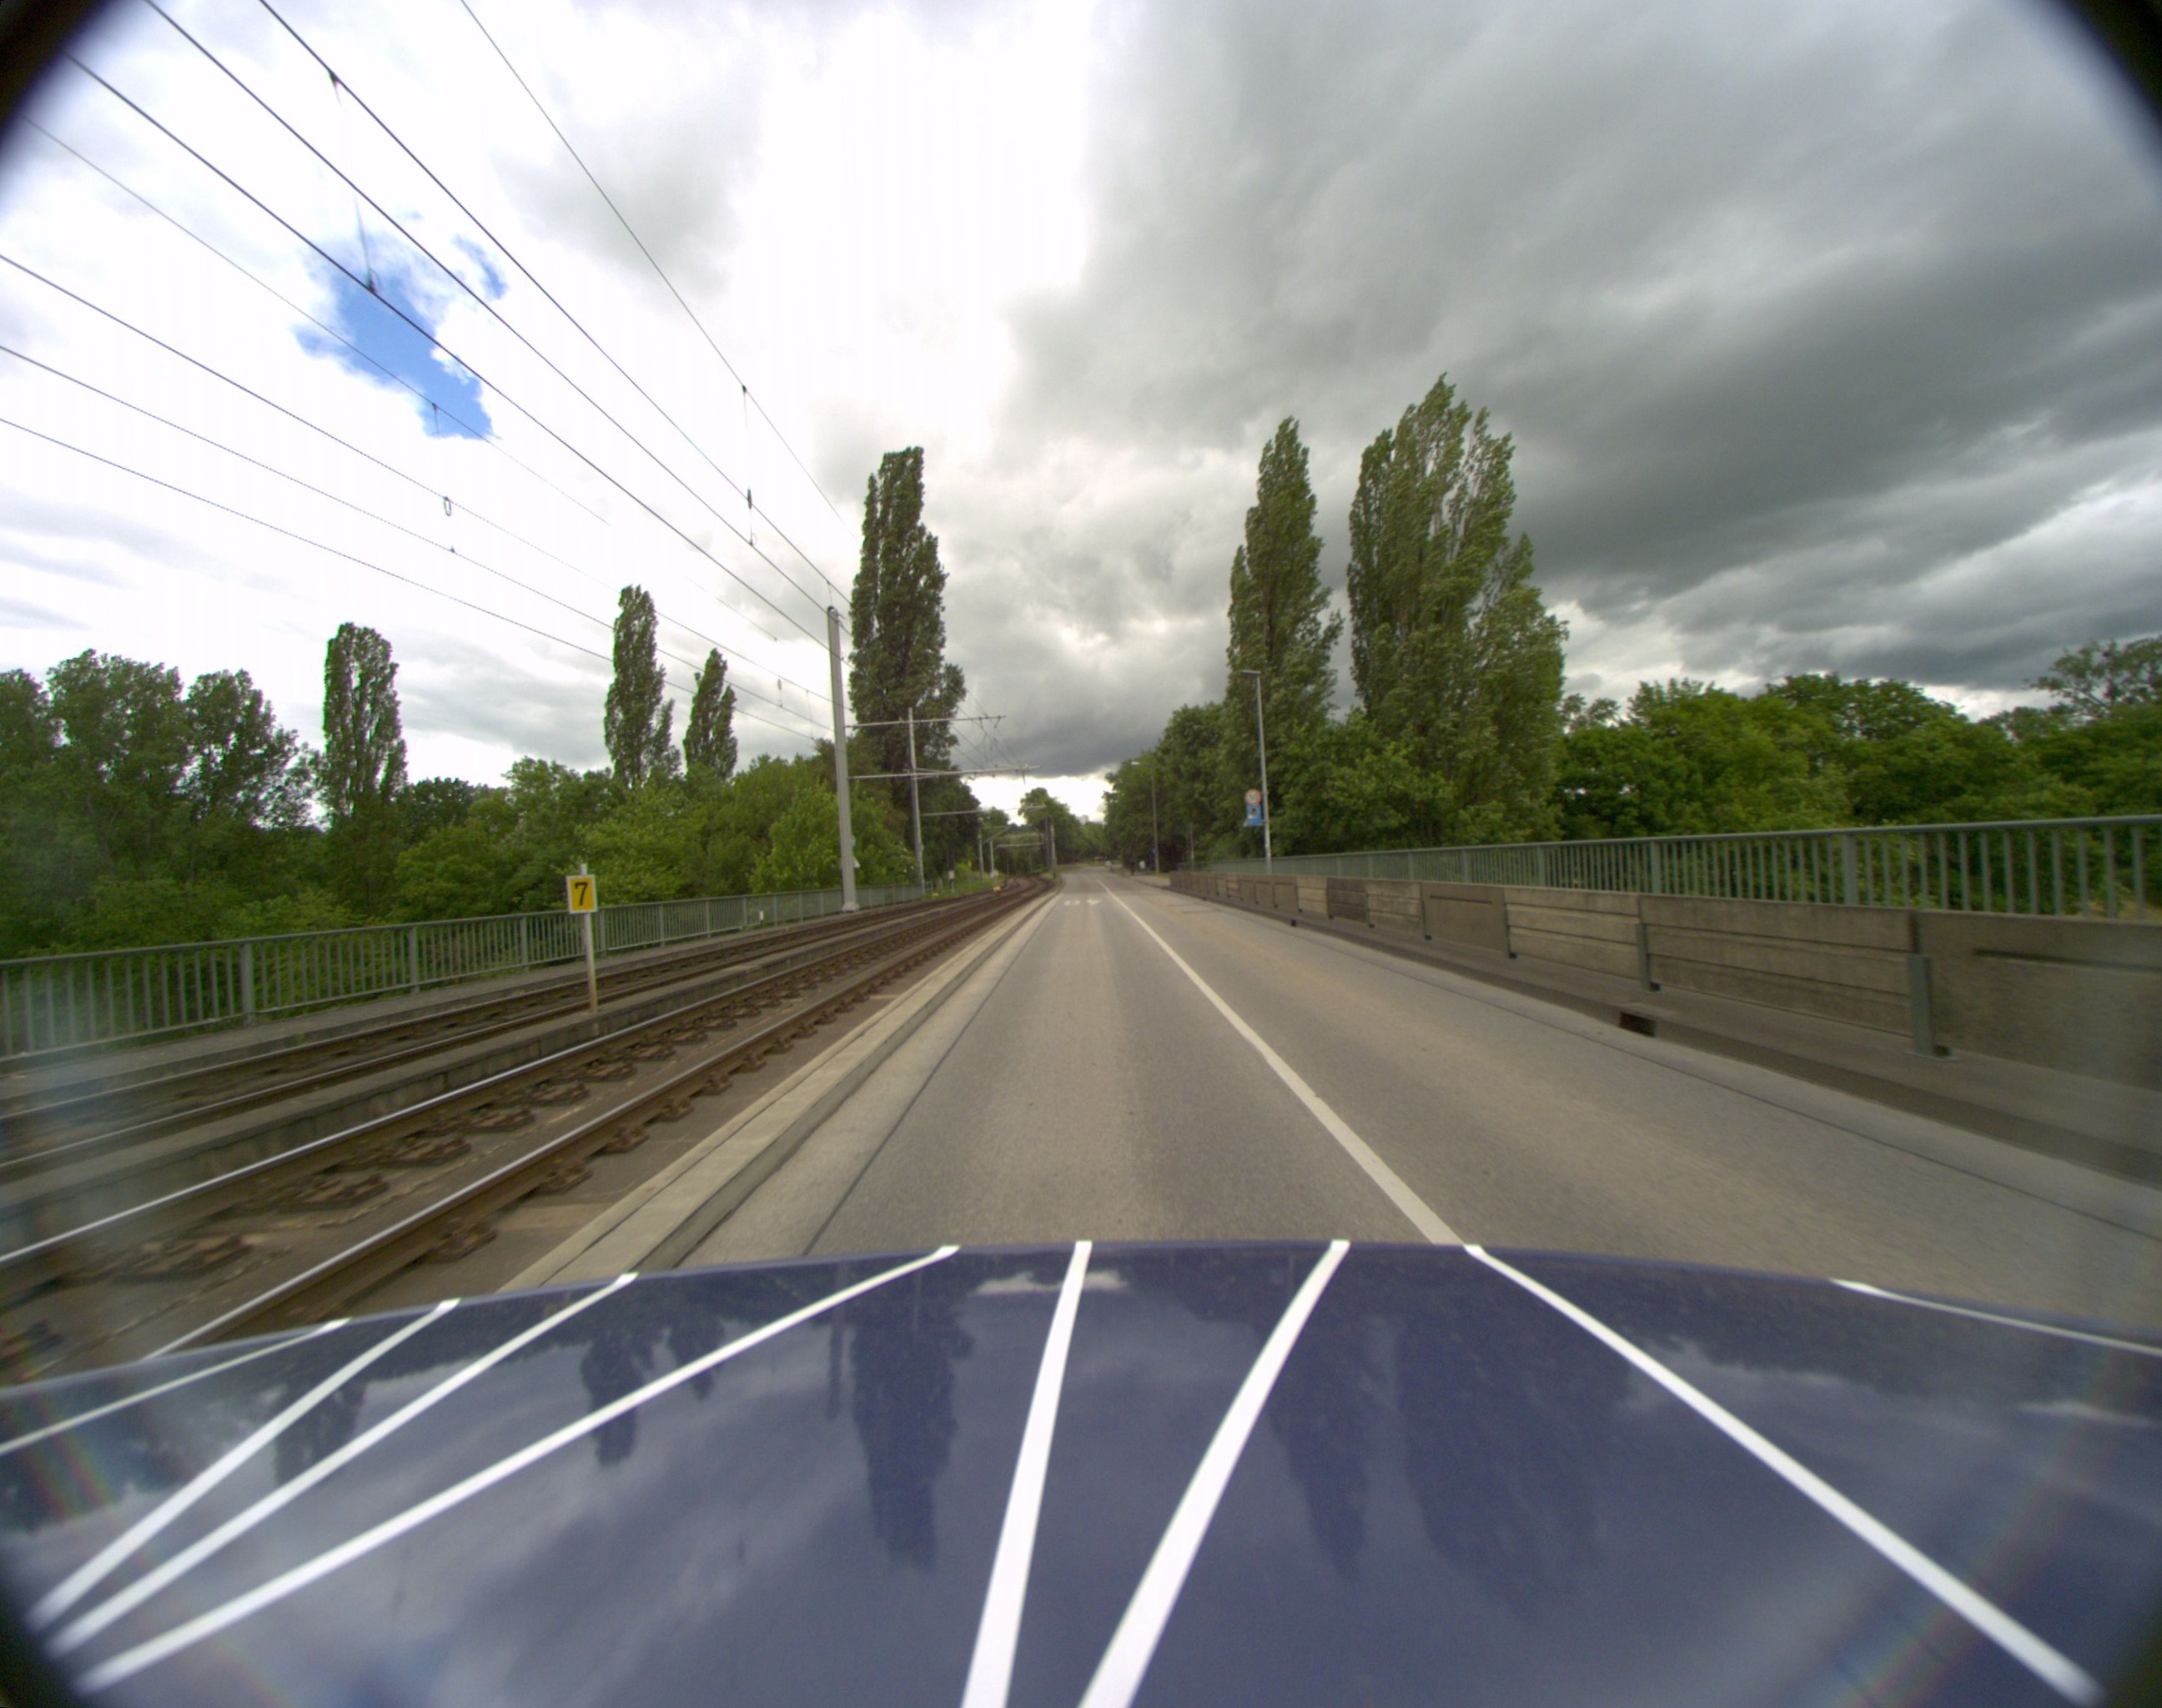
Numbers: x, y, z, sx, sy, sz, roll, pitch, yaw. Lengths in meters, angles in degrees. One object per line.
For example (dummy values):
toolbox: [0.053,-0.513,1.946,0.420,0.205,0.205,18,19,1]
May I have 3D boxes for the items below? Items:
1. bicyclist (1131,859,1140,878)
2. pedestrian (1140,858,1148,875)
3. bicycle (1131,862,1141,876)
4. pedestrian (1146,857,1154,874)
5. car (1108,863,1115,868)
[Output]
bicyclist: [5.882,1.552,82.384,0.688,1.936,0.835,-4,0,-4]
pedestrian: [6.597,1.308,79.646,0.552,1.755,0.858,-7,0,-1]
bicycle: [5.904,1.569,81.929,0.700,1.324,2.279,-4,2,-4]
pedestrian: [7.256,1.189,79.681,0.588,1.792,0.822,-5,0,-1]
car: [9.173,3.434,228.210,1.799,1.483,4.180,-1,-1,-1]
